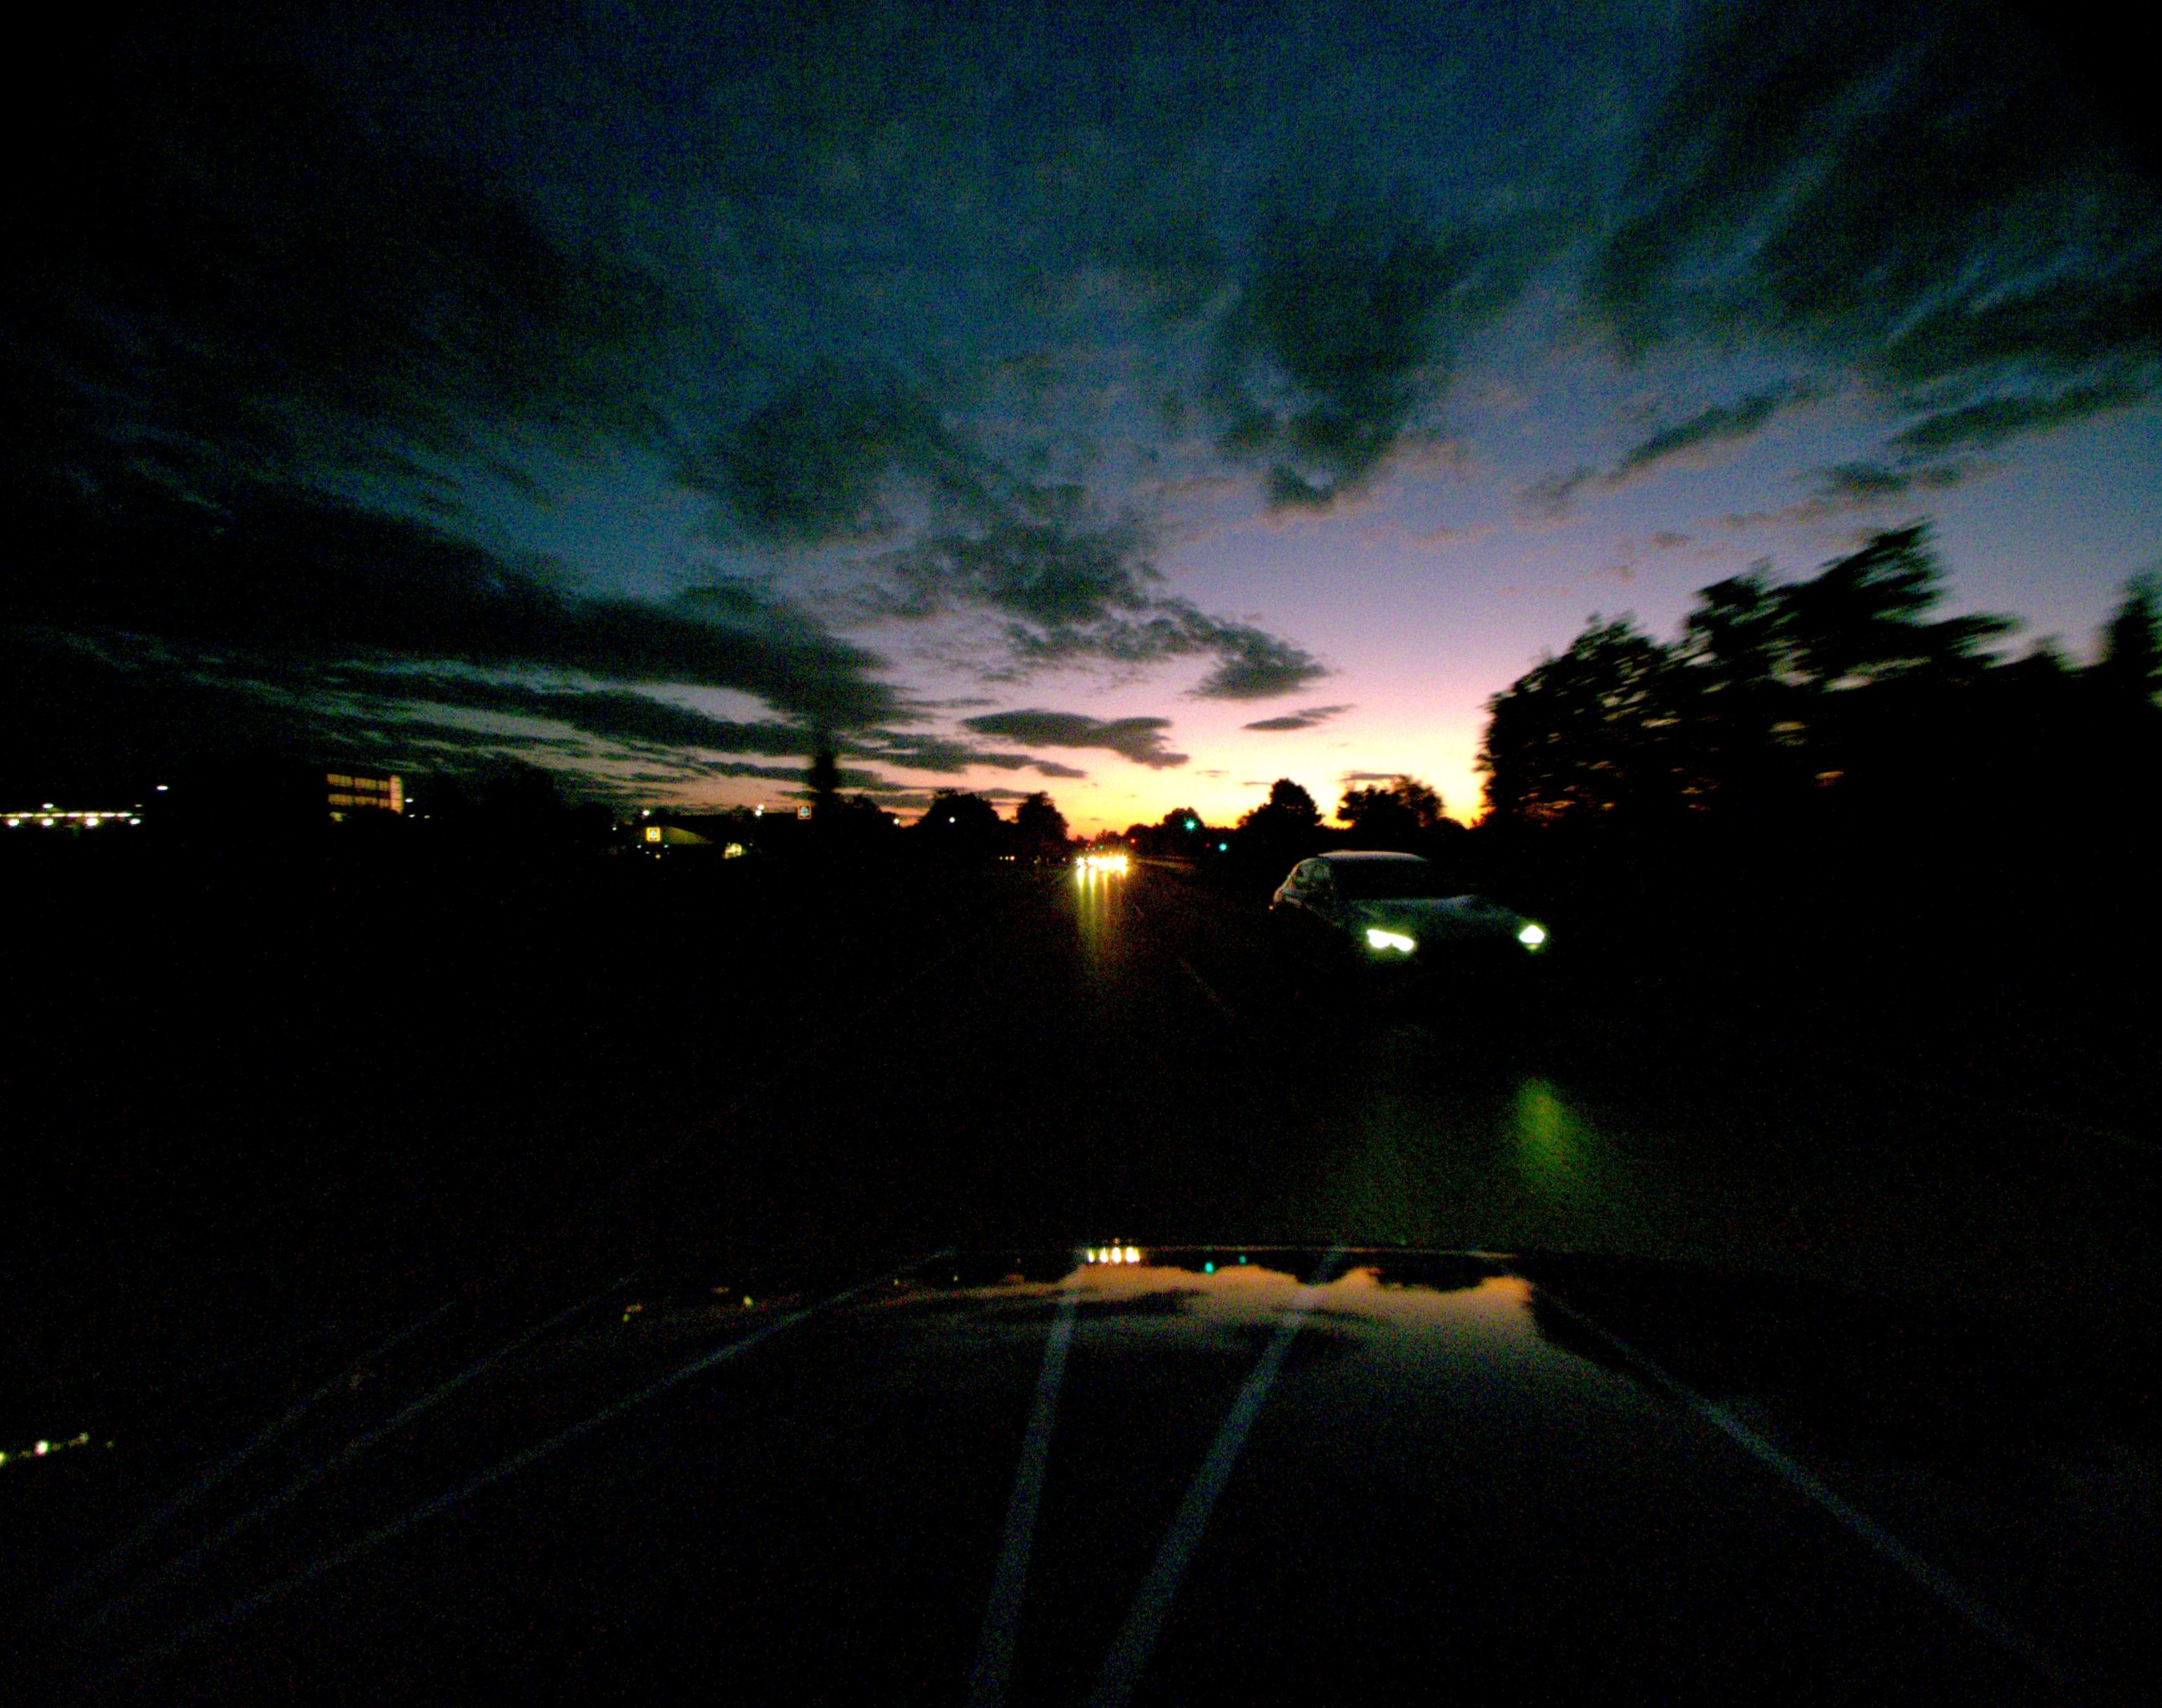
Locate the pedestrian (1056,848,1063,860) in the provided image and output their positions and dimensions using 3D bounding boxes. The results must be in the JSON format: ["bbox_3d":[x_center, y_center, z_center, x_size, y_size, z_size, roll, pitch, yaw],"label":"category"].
[{"bbox_3d":[-3.839,-0.004,134.552,0.782,2.002,0.712,-4,2,-38],"label":"pedestrian"}]

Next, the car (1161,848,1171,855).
[{"bbox_3d":[18.110,-0.568,161.866,1.656,1.376,4.029,-3,1,0],"label":"car"}]

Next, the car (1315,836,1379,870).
[{"bbox_3d":[12.821,-0.062,36.870,1.659,1.496,4.000,-3,0,0],"label":"car"}]

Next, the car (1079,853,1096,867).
[{"bbox_3d":[0.840,0.753,91.896,1.902,1.547,4.301,-4,0,1],"label":"car"}]

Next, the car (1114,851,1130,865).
[{"bbox_3d":[5.128,0.486,95.641,1.760,1.692,4.250,-2,0,1],"label":"car"}]

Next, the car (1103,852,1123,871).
[{"bbox_3d":[2.761,0.662,66.139,1.663,1.528,3.715,-2,0,1],"label":"car"}]

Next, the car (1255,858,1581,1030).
[{"bbox_3d":[3.425,0.798,8.860,1.819,1.428,4.647,-2,0,2],"label":"car"}]

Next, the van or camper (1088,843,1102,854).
[{"bbox_3d":[4.157,-1.548,223.587,3.949,3.107,9.942,-1,0,1],"label":"van or camper"}]

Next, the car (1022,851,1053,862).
[{"bbox_3d":[-6.603,0.325,115.291,4.477,1.654,1.999,1,0,-7],"label":"car"}]
